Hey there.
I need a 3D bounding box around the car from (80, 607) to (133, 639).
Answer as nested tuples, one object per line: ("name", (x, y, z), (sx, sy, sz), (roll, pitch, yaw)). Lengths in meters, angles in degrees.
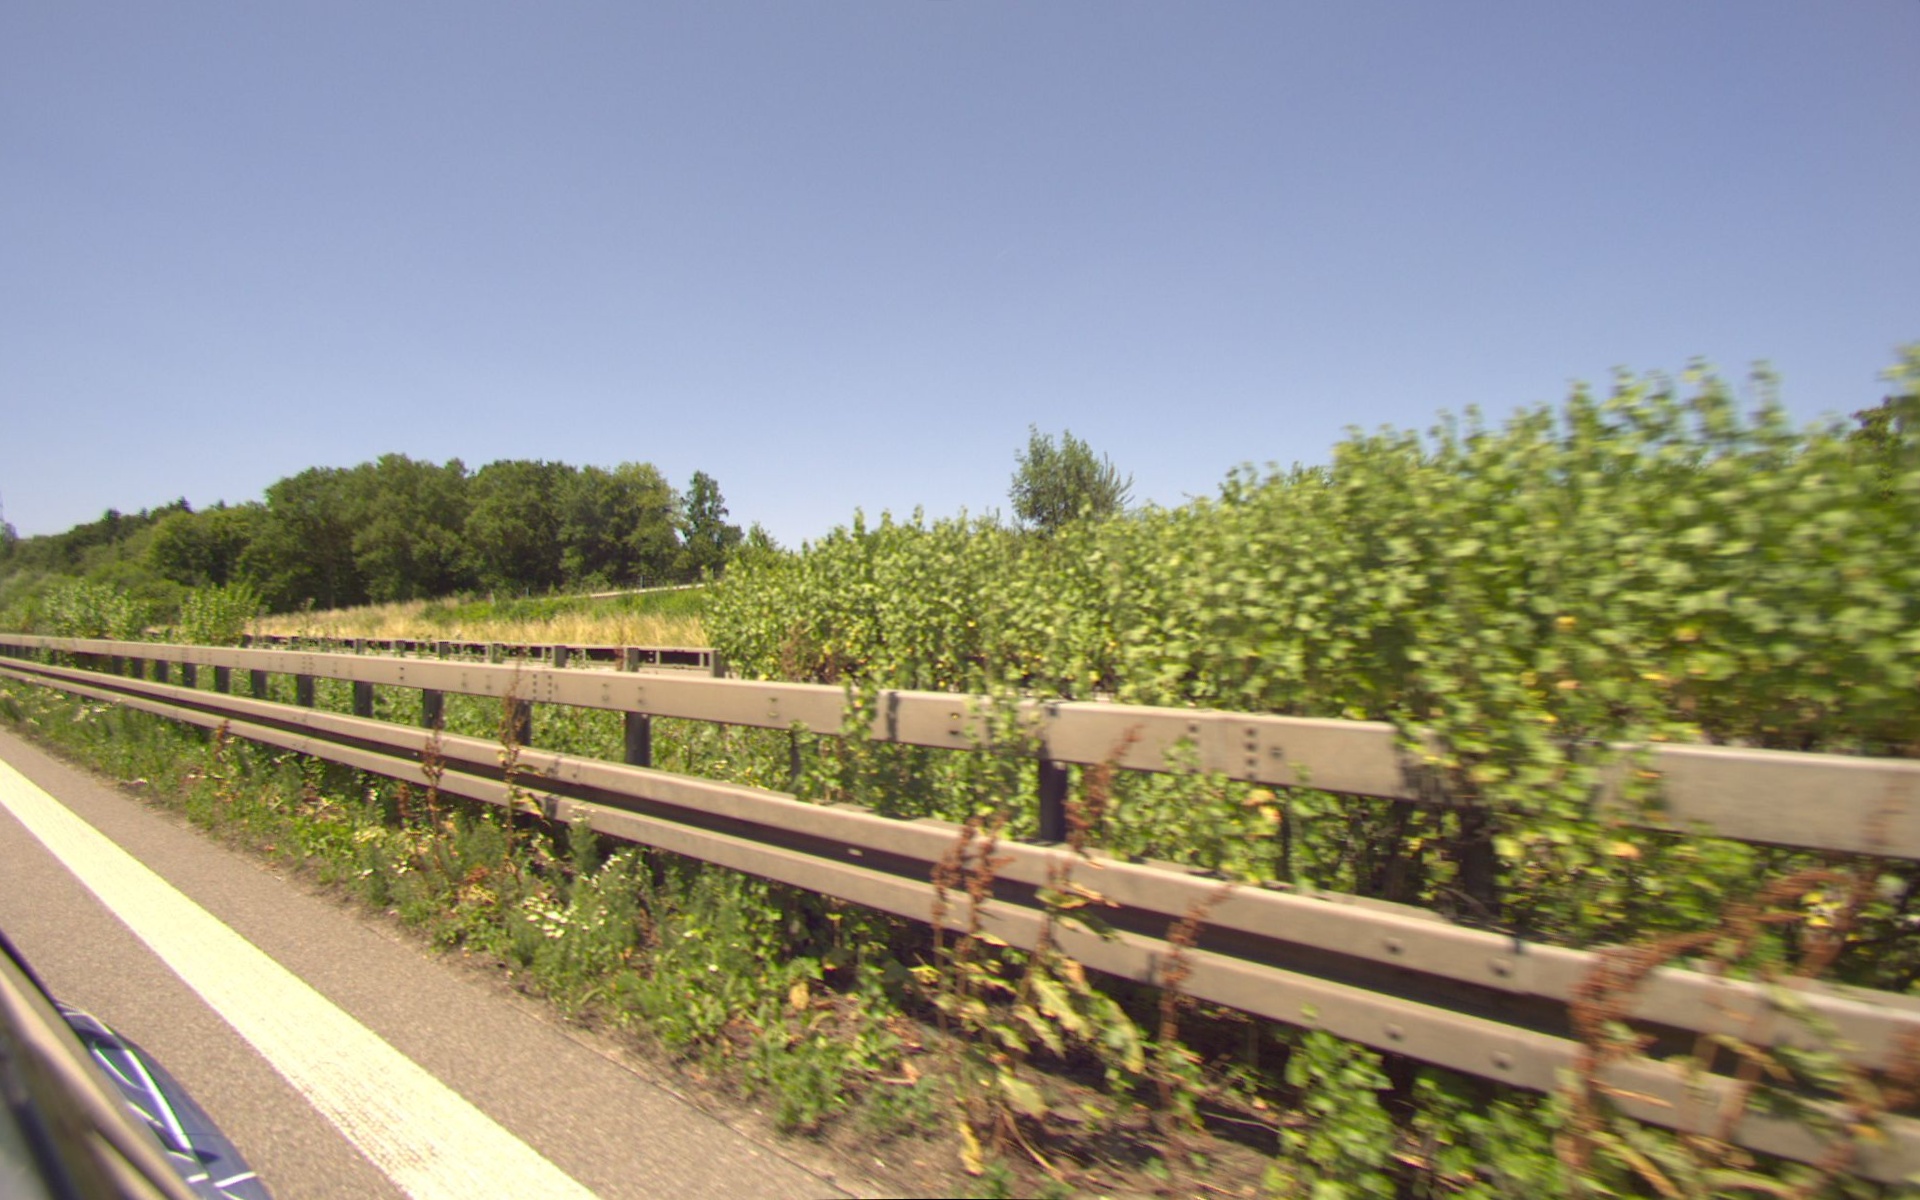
("car", (-52.070, 1.433, 61.693), (4.286, 1.829, 1.782), (-2, -1, 41))
